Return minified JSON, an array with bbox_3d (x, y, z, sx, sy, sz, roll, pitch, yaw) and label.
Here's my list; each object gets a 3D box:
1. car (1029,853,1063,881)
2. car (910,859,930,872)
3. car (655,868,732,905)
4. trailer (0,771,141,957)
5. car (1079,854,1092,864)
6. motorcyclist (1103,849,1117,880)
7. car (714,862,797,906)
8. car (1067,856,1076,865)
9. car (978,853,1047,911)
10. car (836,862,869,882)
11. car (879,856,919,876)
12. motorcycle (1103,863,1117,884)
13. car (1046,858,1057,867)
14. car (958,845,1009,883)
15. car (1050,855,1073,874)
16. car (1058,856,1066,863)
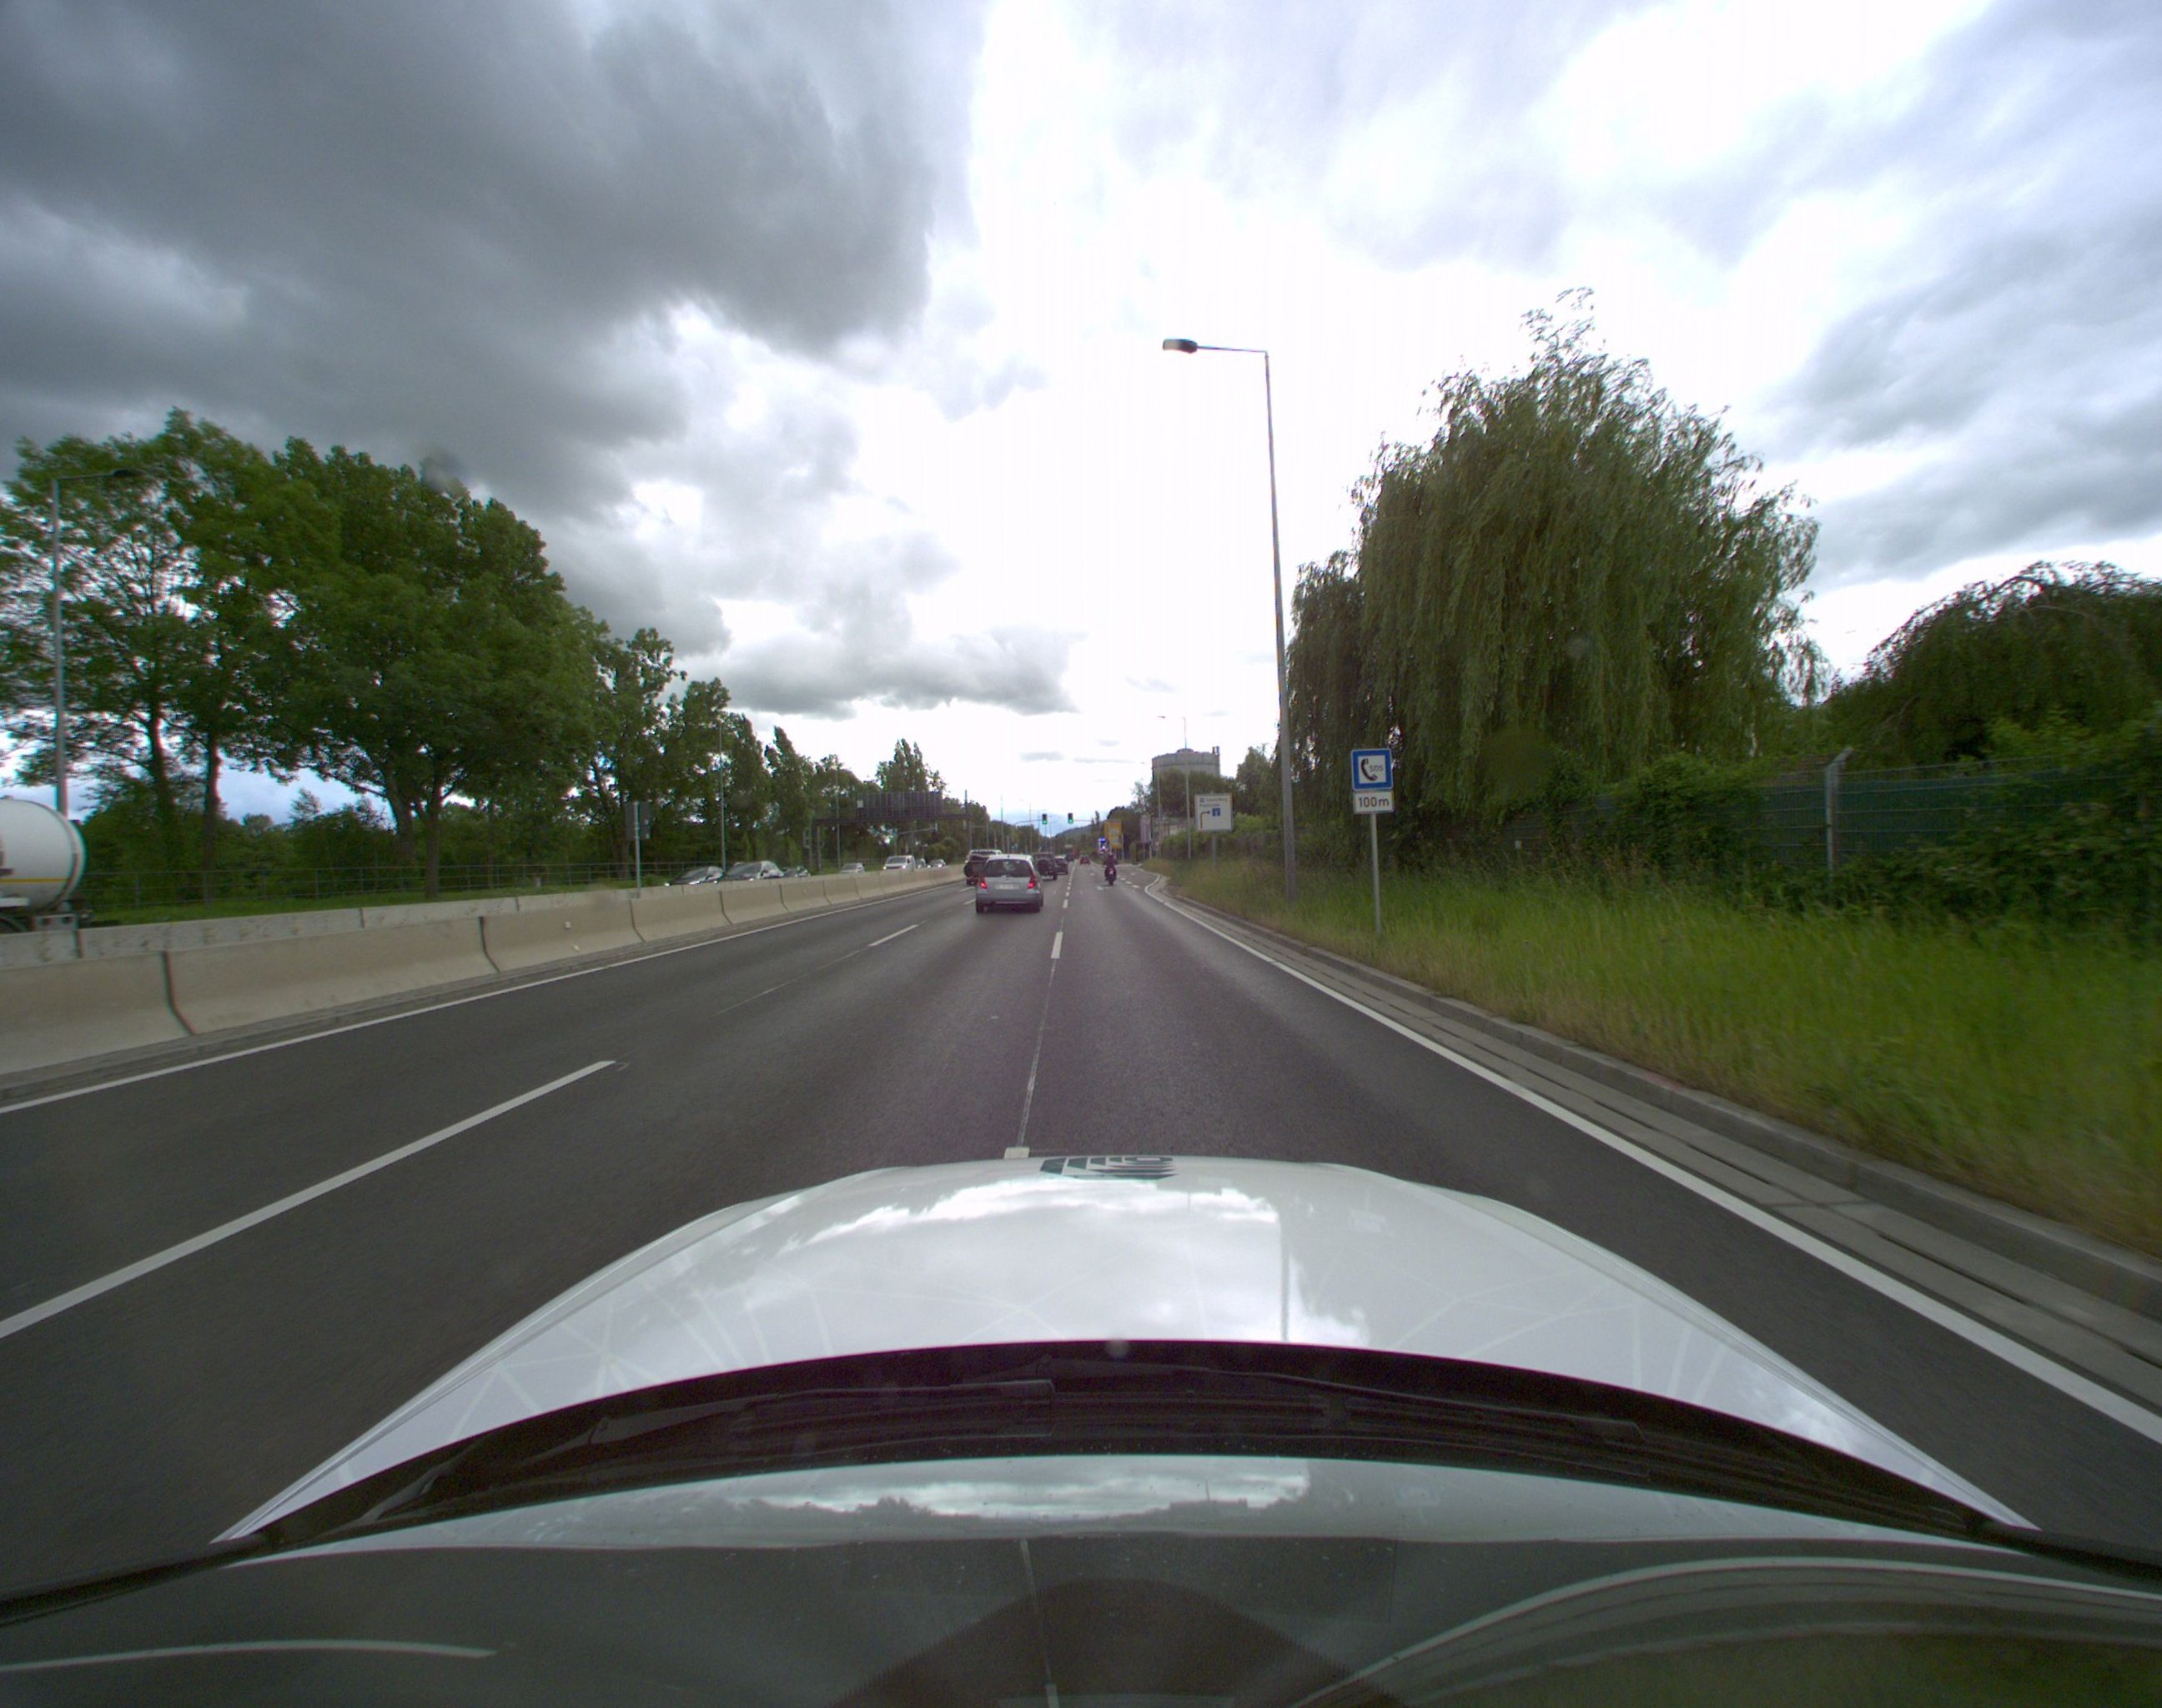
[{"bbox_3d":[-2.163,0.758,51.356,1.901,1.684,4.000,0,0,0],"label":"car"},{"bbox_3d":[-21.348,1.515,107.825,1.872,1.683,3.926,0,0,0],"label":"car"},{"bbox_3d":[-20.388,1.680,43.067,1.987,1.739,4.303,0,0,0],"label":"car"},{"bbox_3d":[-20.103,0.181,10.366,3.093,3.220,11.657,0,0,-2],"label":"trailer"},{"bbox_3d":[0.670,0.859,130.687,1.988,1.552,3.998,0,0,-1],"label":"car"},{"bbox_3d":[1.492,0.532,41.929,0.682,1.610,0.845,0,0,1],"label":"motorcyclist"},{"bbox_3d":[-14.116,1.259,35.564,1.987,1.739,4.000,0,0,0],"label":"car"},{"bbox_3d":[-2.182,1.382,183.511,1.987,2.013,4.000,0,0,0],"label":"car"},{"bbox_3d":[-1.895,0.730,23.541,1.705,1.530,3.999,0,0,-1],"label":"car"},{"bbox_3d":[-21.006,1.612,74.885,1.872,1.683,4.121,0,0,0],"label":"car"},{"bbox_3d":[-14.943,0.928,67.171,1.986,1.559,4.888,0,0,2],"label":"car"},{"bbox_3d":[1.485,1.006,41.990,0.704,1.040,2.027,0,0,1],"label":"motorcycle"},{"bbox_3d":[-5.614,1.644,154.830,1.988,1.552,3.998,0,0,-1],"label":"car"},{"bbox_3d":[-5.194,0.501,44.231,2.208,1.925,5.000,0,0,-1],"label":"car"},{"bbox_3d":[-1.571,0.861,66.553,1.834,1.464,3.999,0,0,0],"label":"car"},{"bbox_3d":[-5.060,1.495,220.123,1.987,2.013,4.000,0,0,0],"label":"car"}]
